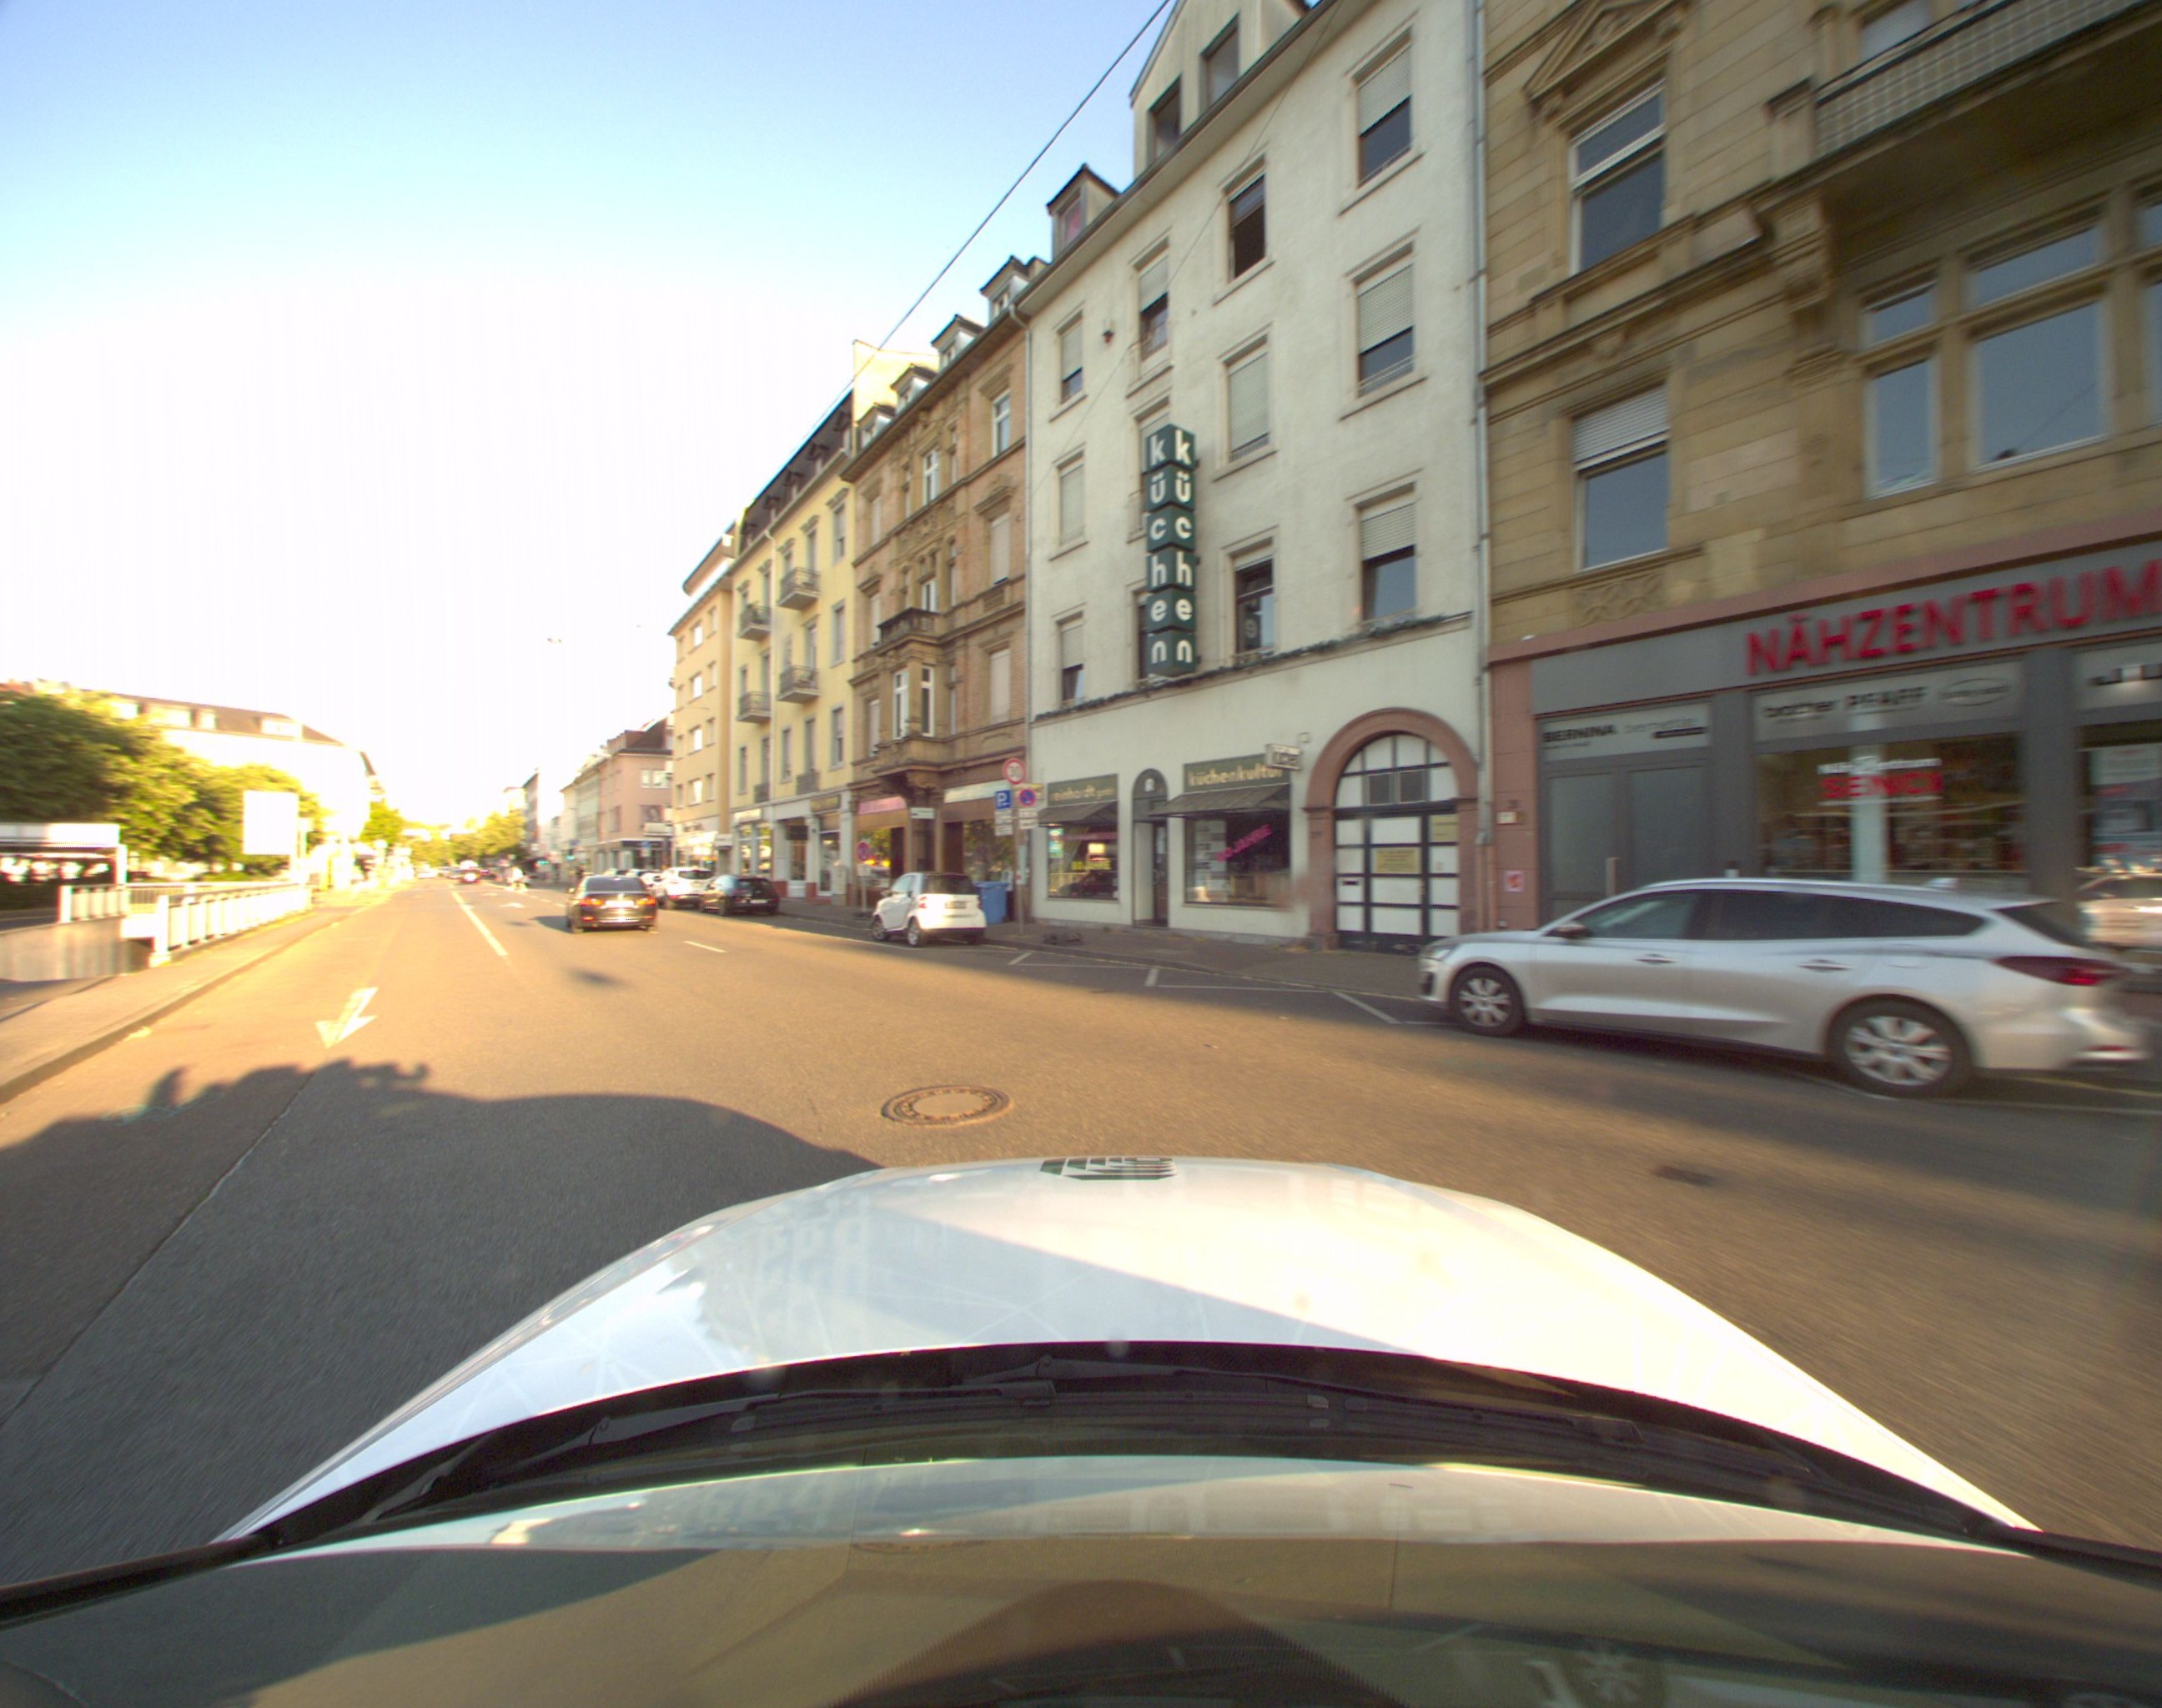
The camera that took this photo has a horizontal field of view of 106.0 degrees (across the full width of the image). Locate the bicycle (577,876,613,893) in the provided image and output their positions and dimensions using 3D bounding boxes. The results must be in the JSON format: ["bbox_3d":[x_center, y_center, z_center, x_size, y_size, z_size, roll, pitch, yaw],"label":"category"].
[{"bbox_3d":[-31.316,1.957,52.491,1.900,1.113,0.586,2,-3,-42],"label":"bicycle"}]

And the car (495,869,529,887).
[{"bbox_3d":[-54.308,2.284,77.701,2.353,1.604,3.849,1,-2,-39],"label":"car"}]

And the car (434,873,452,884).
[{"bbox_3d":[-92.902,3.596,118.625,1.900,1.486,3.955,1,-2,-38],"label":"car"}]

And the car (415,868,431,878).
[{"bbox_3d":[-103.738,3.042,128.440,1.909,1.596,3.955,1,-2,-38],"label":"car"}]

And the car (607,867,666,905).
[{"bbox_3d":[-23.079,1.614,42.255,1.883,1.762,4.357,1,0,-39],"label":"car"}]

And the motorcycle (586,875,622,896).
[{"bbox_3d":[-29.876,1.961,51.054,1.828,1.263,0.707,0,0,-42],"label":"motorcycle"}]

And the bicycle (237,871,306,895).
[{"bbox_3d":[-42.269,1.536,42.564,2.451,1.237,0.511,3,-3,-41],"label":"bicycle"}]

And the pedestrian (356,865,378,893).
[{"bbox_3d":[-44.624,1.574,50.922,0.706,1.721,0.890,-1,-2,40],"label":"pedestrian"}]

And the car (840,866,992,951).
[{"bbox_3d":[-3.784,1.112,18.230,1.714,1.585,3.954,0,0,-39],"label":"car"}]

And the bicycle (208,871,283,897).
[{"bbox_3d":[-41.930,1.517,40.912,2.511,1.284,0.810,1,-2,-19],"label":"bicycle"}]

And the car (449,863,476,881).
[{"bbox_3d":[-61.510,1.780,80.923,2.010,1.750,3.954,1,-2,-39],"label":"car"}]

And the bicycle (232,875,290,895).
[{"bbox_3d":[-43.466,1.661,43.203,2.060,0.971,0.628,4,-3,-41],"label":"bicycle"}]

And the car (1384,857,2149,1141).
[{"bbox_3d":[5.290,0.838,7.023,2.010,1.535,4.627,1,0,-40],"label":"car"}]

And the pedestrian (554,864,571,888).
[{"bbox_3d":[-37.124,1.584,58.336,0.802,1.721,0.802,-1,-2,44],"label":"pedestrian"}]

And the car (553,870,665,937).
[{"bbox_3d":[-12.019,1.167,20.613,1.903,1.492,4.156,1,-2,-38],"label":"car"}]

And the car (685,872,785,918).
[{"bbox_3d":[-12.214,1.387,28.575,2.010,1.434,4.794,1,-2,-39],"label":"car"}]

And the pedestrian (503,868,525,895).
[{"bbox_3d":[-37.615,1.819,54.053,0.750,1.721,0.876,0,-2,26],"label":"pedestrian"}]

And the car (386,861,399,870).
[{"bbox_3d":[-145.357,2.422,171.948,1.842,2.014,3.634,2,-2,-38],"label":"car"}]

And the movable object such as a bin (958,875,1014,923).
[{"bbox_3d":[-2.532,1.173,21.658,0.873,1.186,1.382,1,-1,-39],"label":"movable object such as a bin"}]

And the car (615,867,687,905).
[{"bbox_3d":[-19.802,1.405,37.407,2.032,1.543,4.814,1,0,-38],"label":"car"}]

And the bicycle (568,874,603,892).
[{"bbox_3d":[-32.950,1.899,54.132,1.900,1.167,0.714,1,-1,-43],"label":"bicycle"}]

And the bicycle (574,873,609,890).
[{"bbox_3d":[-31.786,1.796,52.916,1.900,1.112,0.515,2,-2,-42],"label":"bicycle"}]

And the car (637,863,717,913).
[{"bbox_3d":[-16.379,1.307,32.911,1.897,1.745,4.605,1,0,-39],"label":"car"}]

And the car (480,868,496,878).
[{"bbox_3d":[-99.586,3.166,136.663,2.010,1.617,3.954,1,-2,-39],"label":"car"}]
